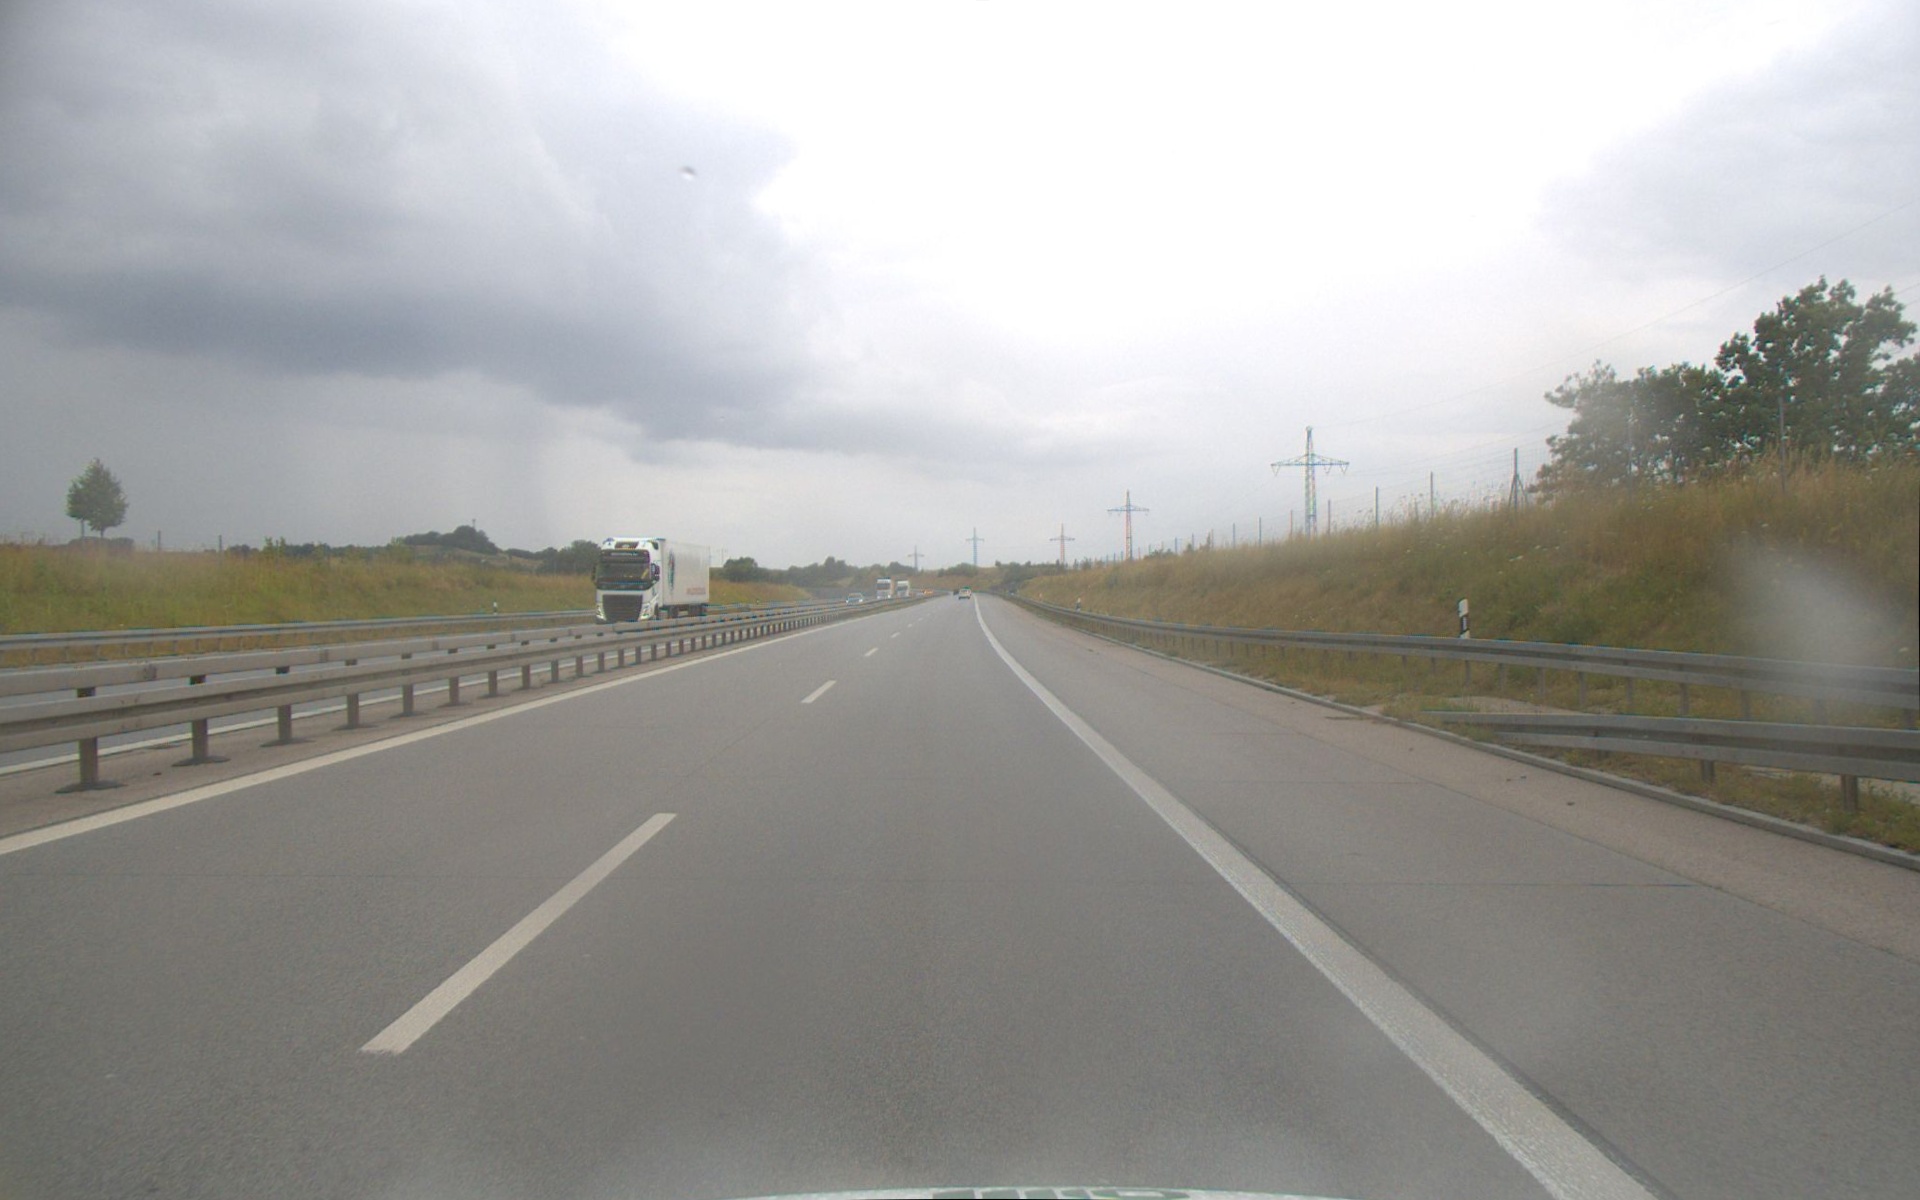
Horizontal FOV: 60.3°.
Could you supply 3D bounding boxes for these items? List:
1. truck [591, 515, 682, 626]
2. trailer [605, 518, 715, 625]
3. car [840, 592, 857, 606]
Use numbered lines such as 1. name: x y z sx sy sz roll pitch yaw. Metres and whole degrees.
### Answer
1. truck: -14.332 -1.273 73.744 2.738 4.728 6.919 0 0 -1
2. trailer: -14.378 -1.295 80.583 2.738 4.731 14.845 0 0 0
3. car: -11.783 -0.085 175.167 1.728 1.449 3.998 -1 0 -2
